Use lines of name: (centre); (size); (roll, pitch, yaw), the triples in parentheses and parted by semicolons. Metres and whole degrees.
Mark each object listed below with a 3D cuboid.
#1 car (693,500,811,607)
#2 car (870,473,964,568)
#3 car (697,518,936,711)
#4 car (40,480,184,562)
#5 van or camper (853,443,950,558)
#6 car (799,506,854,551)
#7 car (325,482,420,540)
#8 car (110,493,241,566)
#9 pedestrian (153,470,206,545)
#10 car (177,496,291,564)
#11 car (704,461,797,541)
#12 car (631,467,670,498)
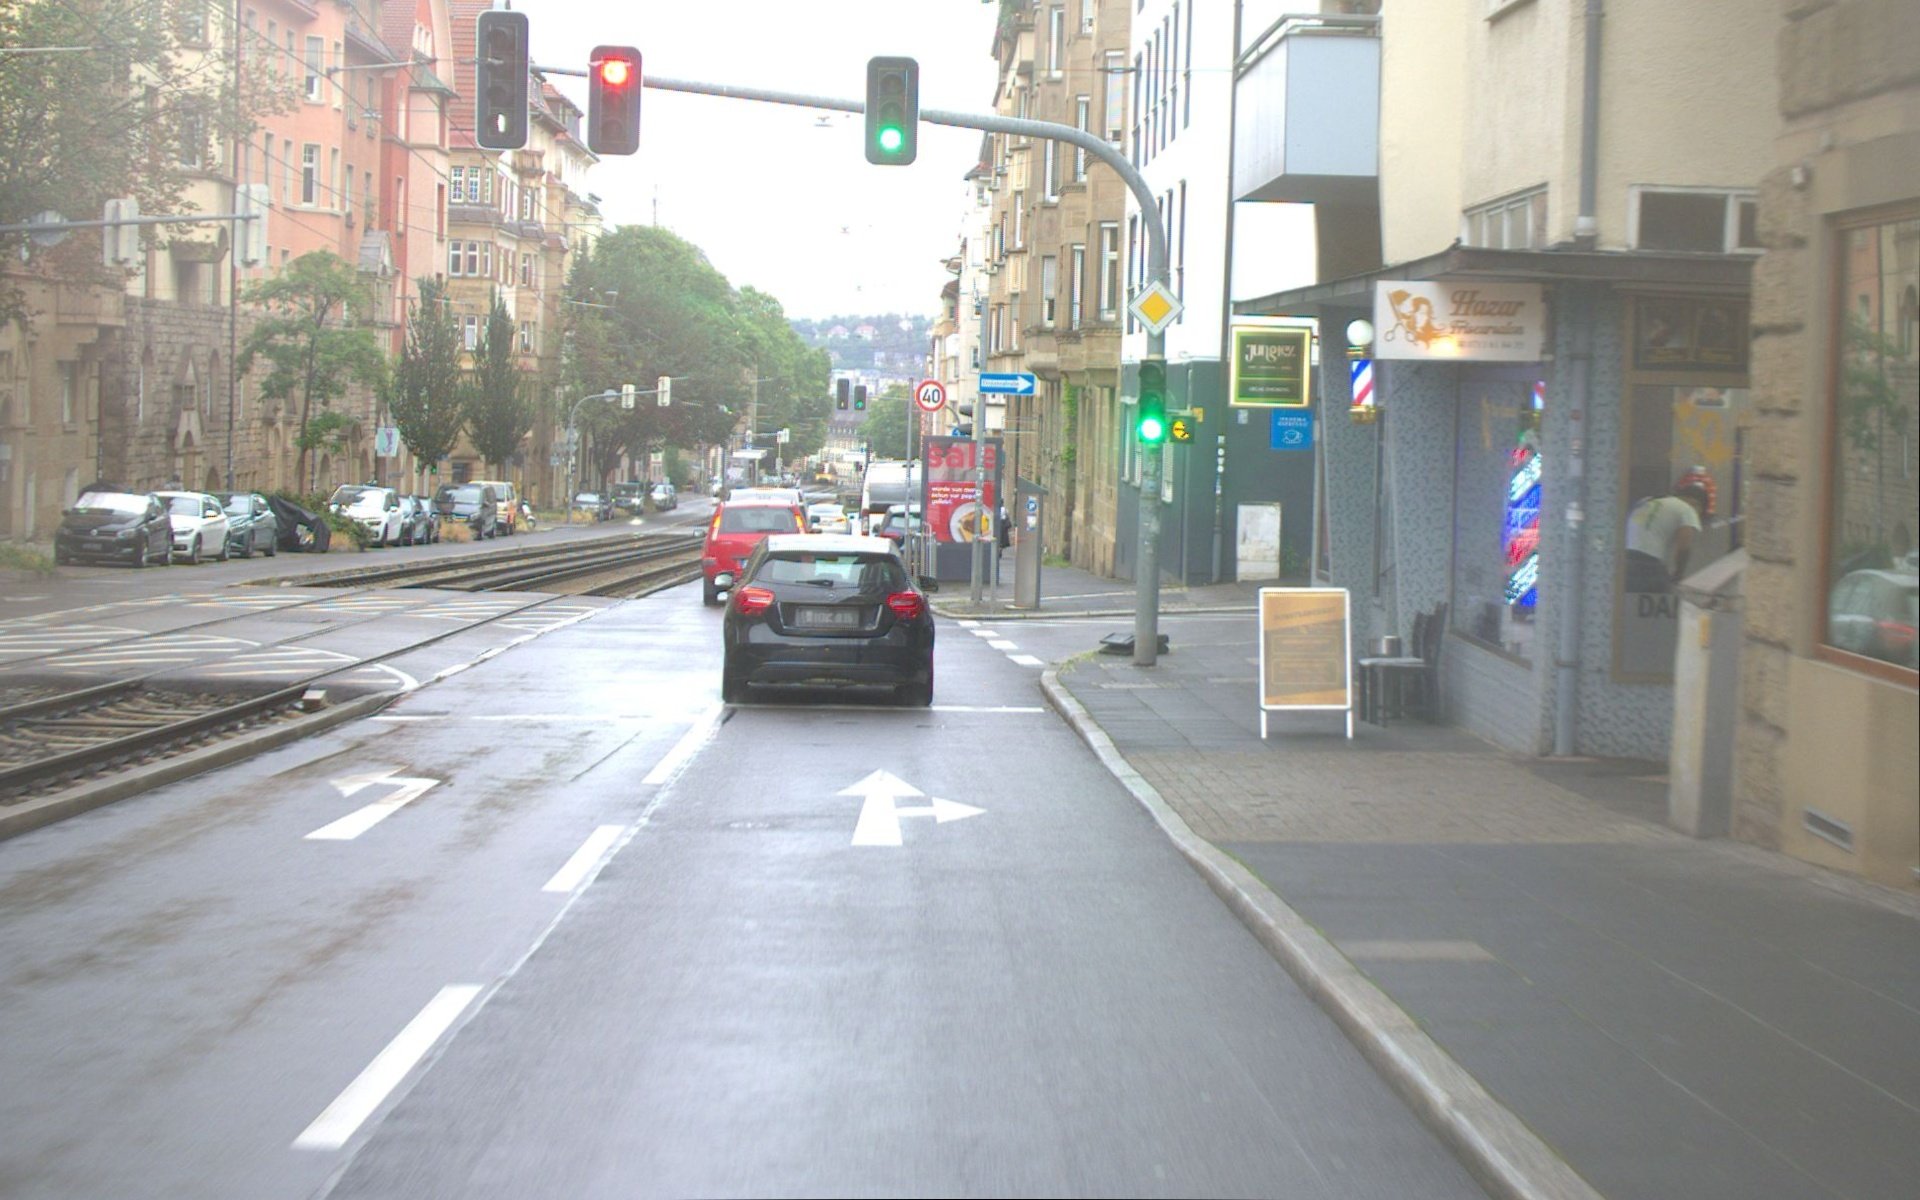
car: (-3.088, -0.719, 51.644); (1.535, 1.505, 4.000); (2, 1, -1)
car: (-0.866, -1.611, 68.829); (1.768, 1.801, 4.483); (2, 2, -1)
car: (-1.235, 0.076, 29.936); (1.946, 1.559, 3.643); (0, 1, -2)
car: (-16.193, -1.512, 65.795); (1.765, 1.481, 4.000); (1, 1, 0)
van or camper: (-1.303, -2.237, 77.239); (2.064, 2.460, 6.119); (1, 2, -1)
car: (-4.846, -2.597, 125.030); (1.902, 1.588, 4.000); (0, 1, -1)
car: (-16.327, -2.473, 95.751); (1.785, 1.584, 4.351); (0, 1, 2)
car: (-16.126, -1.468, 70.851); (1.667, 1.421, 4.263); (1, 2, 1)
pedestrian: (-18.805, -2.235, 82.888); (1.007, 1.747, 0.924); (2, 2, 1)
car: (-16.130, -1.560, 76.574); (1.561, 1.433, 4.146); (1, 1, 1)
car: (-4.489, -2.140, 73.675); (1.921, 1.649, 4.001); (0, 2, -4)
car: (-18.708, -7.112, 208.156); (1.993, 1.787, 4.001); (2, 2, -1)
